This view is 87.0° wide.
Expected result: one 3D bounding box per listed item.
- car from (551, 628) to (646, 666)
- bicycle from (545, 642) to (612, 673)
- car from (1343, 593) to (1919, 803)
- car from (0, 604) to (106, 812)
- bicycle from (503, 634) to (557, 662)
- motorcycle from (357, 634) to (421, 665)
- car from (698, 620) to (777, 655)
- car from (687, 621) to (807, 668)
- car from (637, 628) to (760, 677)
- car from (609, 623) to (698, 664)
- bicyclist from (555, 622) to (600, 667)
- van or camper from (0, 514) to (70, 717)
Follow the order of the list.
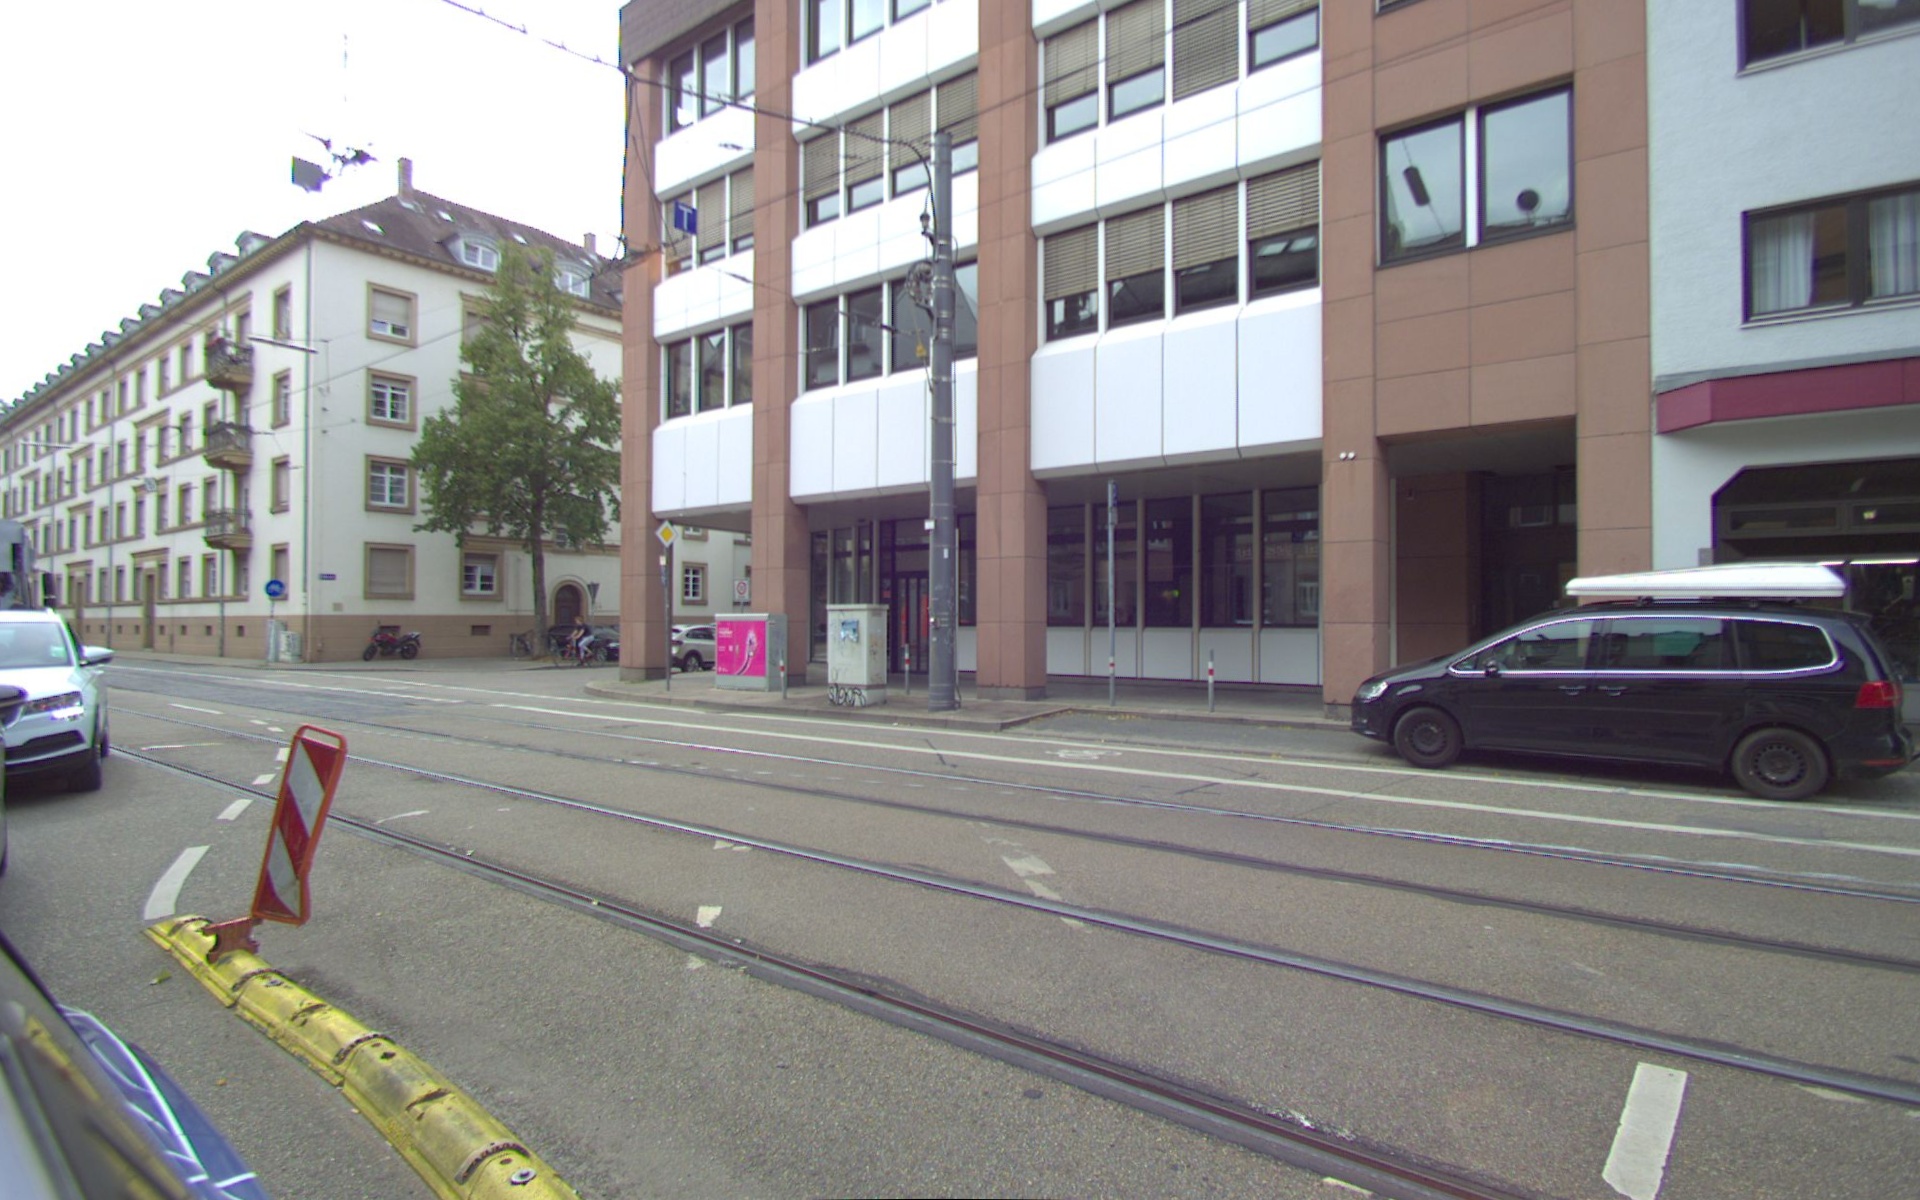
[{"bbox_3d":[-13.810,1.766,38.628,3.869,1.407,1.591,-1,-2,38],"label":"car"},{"bbox_3d":[-12.675,1.905,33.677,1.982,0.972,0.673,1,-3,-44],"label":"bicycle"},{"bbox_3d":[6.556,0.831,10.225,4.694,1.659,1.789,-2,0,40],"label":"car"},{"bbox_3d":[-9.128,0.886,9.180,4.284,1.603,1.749,-2,-1,45],"label":"car"},{"bbox_3d":[-17.572,1.959,41.376,0.792,1.094,1.900,-2,-2,39],"label":"bicycle"},{"bbox_3d":[-20.897,1.792,37.075,0.792,1.094,1.900,-2,-2,39],"label":"motorcycle"},{"bbox_3d":[-9.855,1.646,44.774,3.520,1.473,1.572,-1,-2,38],"label":"car"},{"bbox_3d":[-7.875,1.623,37.605,3.985,1.549,1.777,-1,-1,-40],"label":"car"},{"bbox_3d":[-7.952,1.573,31.034,1.606,1.399,3.611,-1,-2,31],"label":"car"},{"bbox_3d":[-12.261,1.702,40.425,3.711,1.559,1.591,-1,-2,38],"label":"car"},{"bbox_3d":[-12.711,1.480,33.661,1.241,1.473,0.678,1,-3,-43],"label":"bicyclist"},{"bbox_3d":[-20.321,0.358,19.965,9.642,3.447,2.575,-2,-2,39],"label":"van or camper"}]
